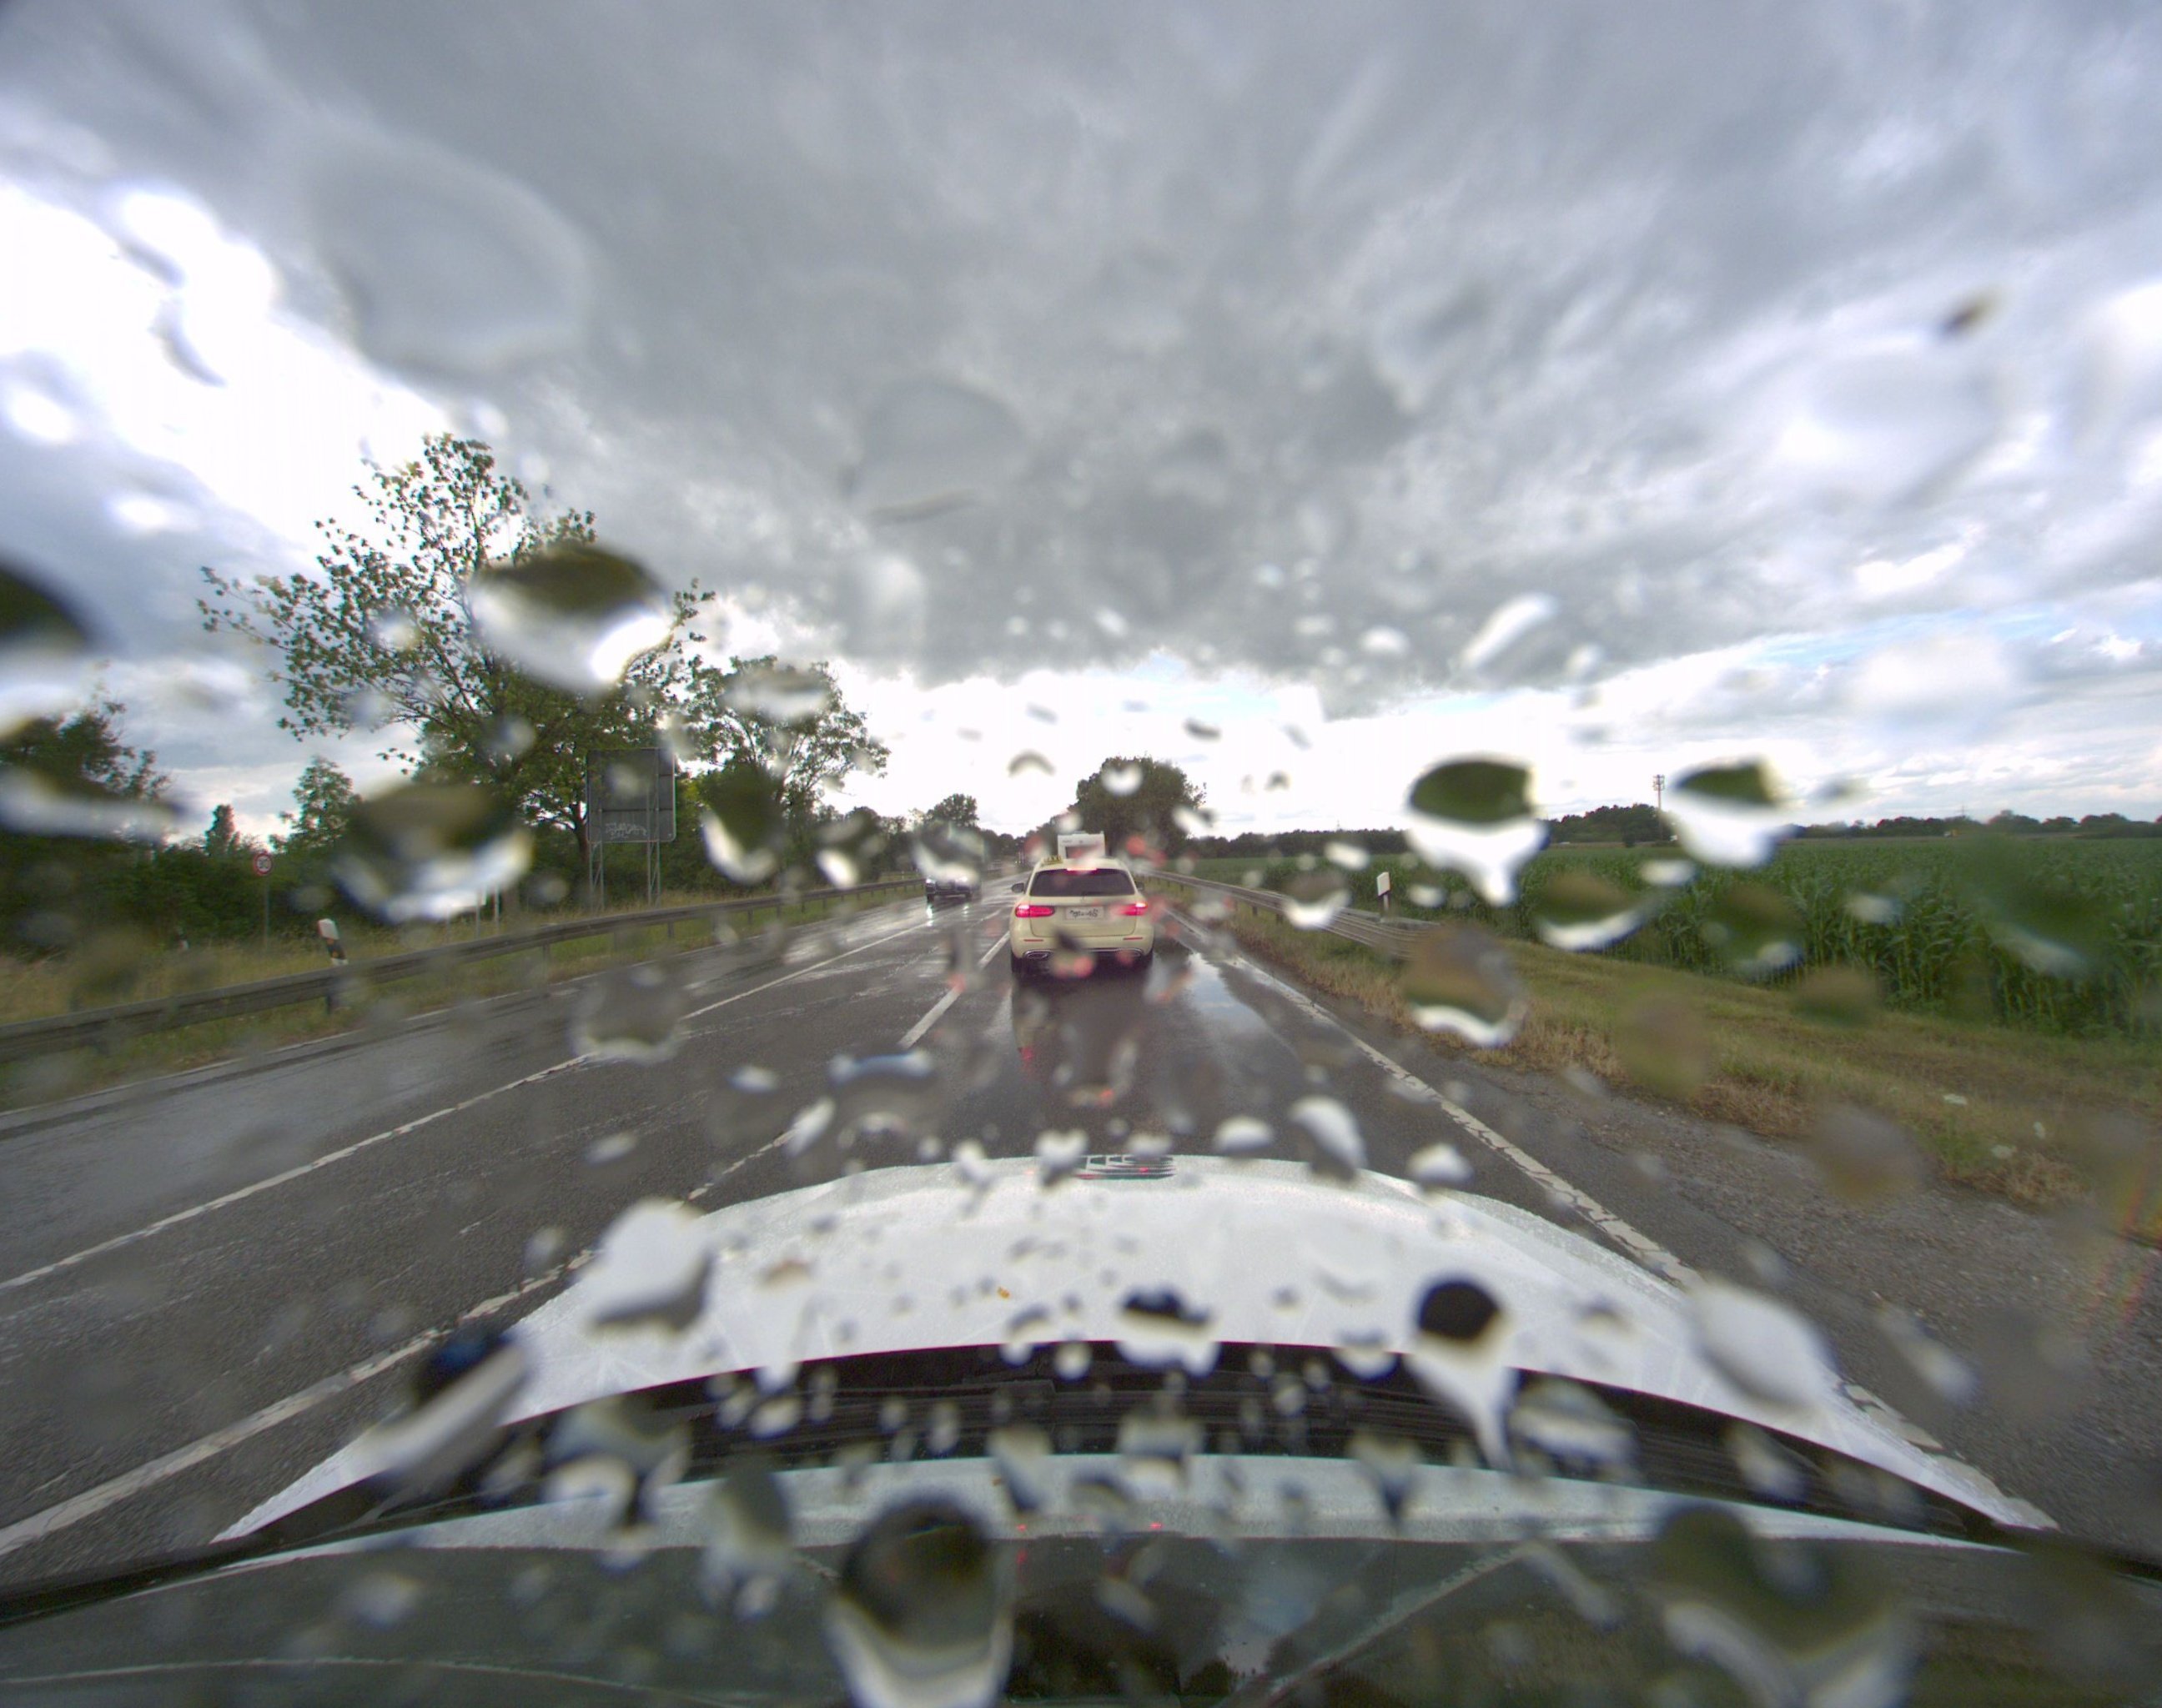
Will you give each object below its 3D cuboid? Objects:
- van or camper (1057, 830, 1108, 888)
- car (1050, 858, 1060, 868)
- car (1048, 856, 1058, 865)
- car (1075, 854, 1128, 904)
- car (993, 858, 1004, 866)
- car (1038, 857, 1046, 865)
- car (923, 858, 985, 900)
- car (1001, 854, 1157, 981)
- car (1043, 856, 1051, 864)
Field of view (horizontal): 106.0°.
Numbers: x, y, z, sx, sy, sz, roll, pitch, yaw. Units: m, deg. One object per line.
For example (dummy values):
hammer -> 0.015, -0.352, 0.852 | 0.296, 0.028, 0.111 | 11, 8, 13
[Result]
van or camper -> 0.081, 0.243, 41.532 | 2.343, 2.680, 5.768 | -2, 0, 0
car -> -5.328, 1.758, 167.468 | 1.990, 2.014, 3.994 | -1, 0, -4
car -> -6.564, 1.590, 189.748 | 1.986, 2.051, 4.001 | -1, 0, 1
car -> 0.658, 0.785, 27.546 | 1.622, 1.529, 3.932 | -2, 0, 0
car -> -17.804, 1.761, 175.777 | 1.986, 1.651, 4.001 | -1, 0, 2
car -> -11.341, 2.014, 236.527 | 1.990, 2.013, 3.993 | -1, 0, -5
car -> -5.177, 0.964, 33.656 | 1.762, 1.523, 4.142 | -3, 0, 1
car -> 0.034, 0.754, 11.645 | 1.818, 1.485, 4.146 | -1, 0, 1
car -> -8.334, 1.437, 201.480 | 1.988, 2.014, 3.997 | -1, 0, -2
